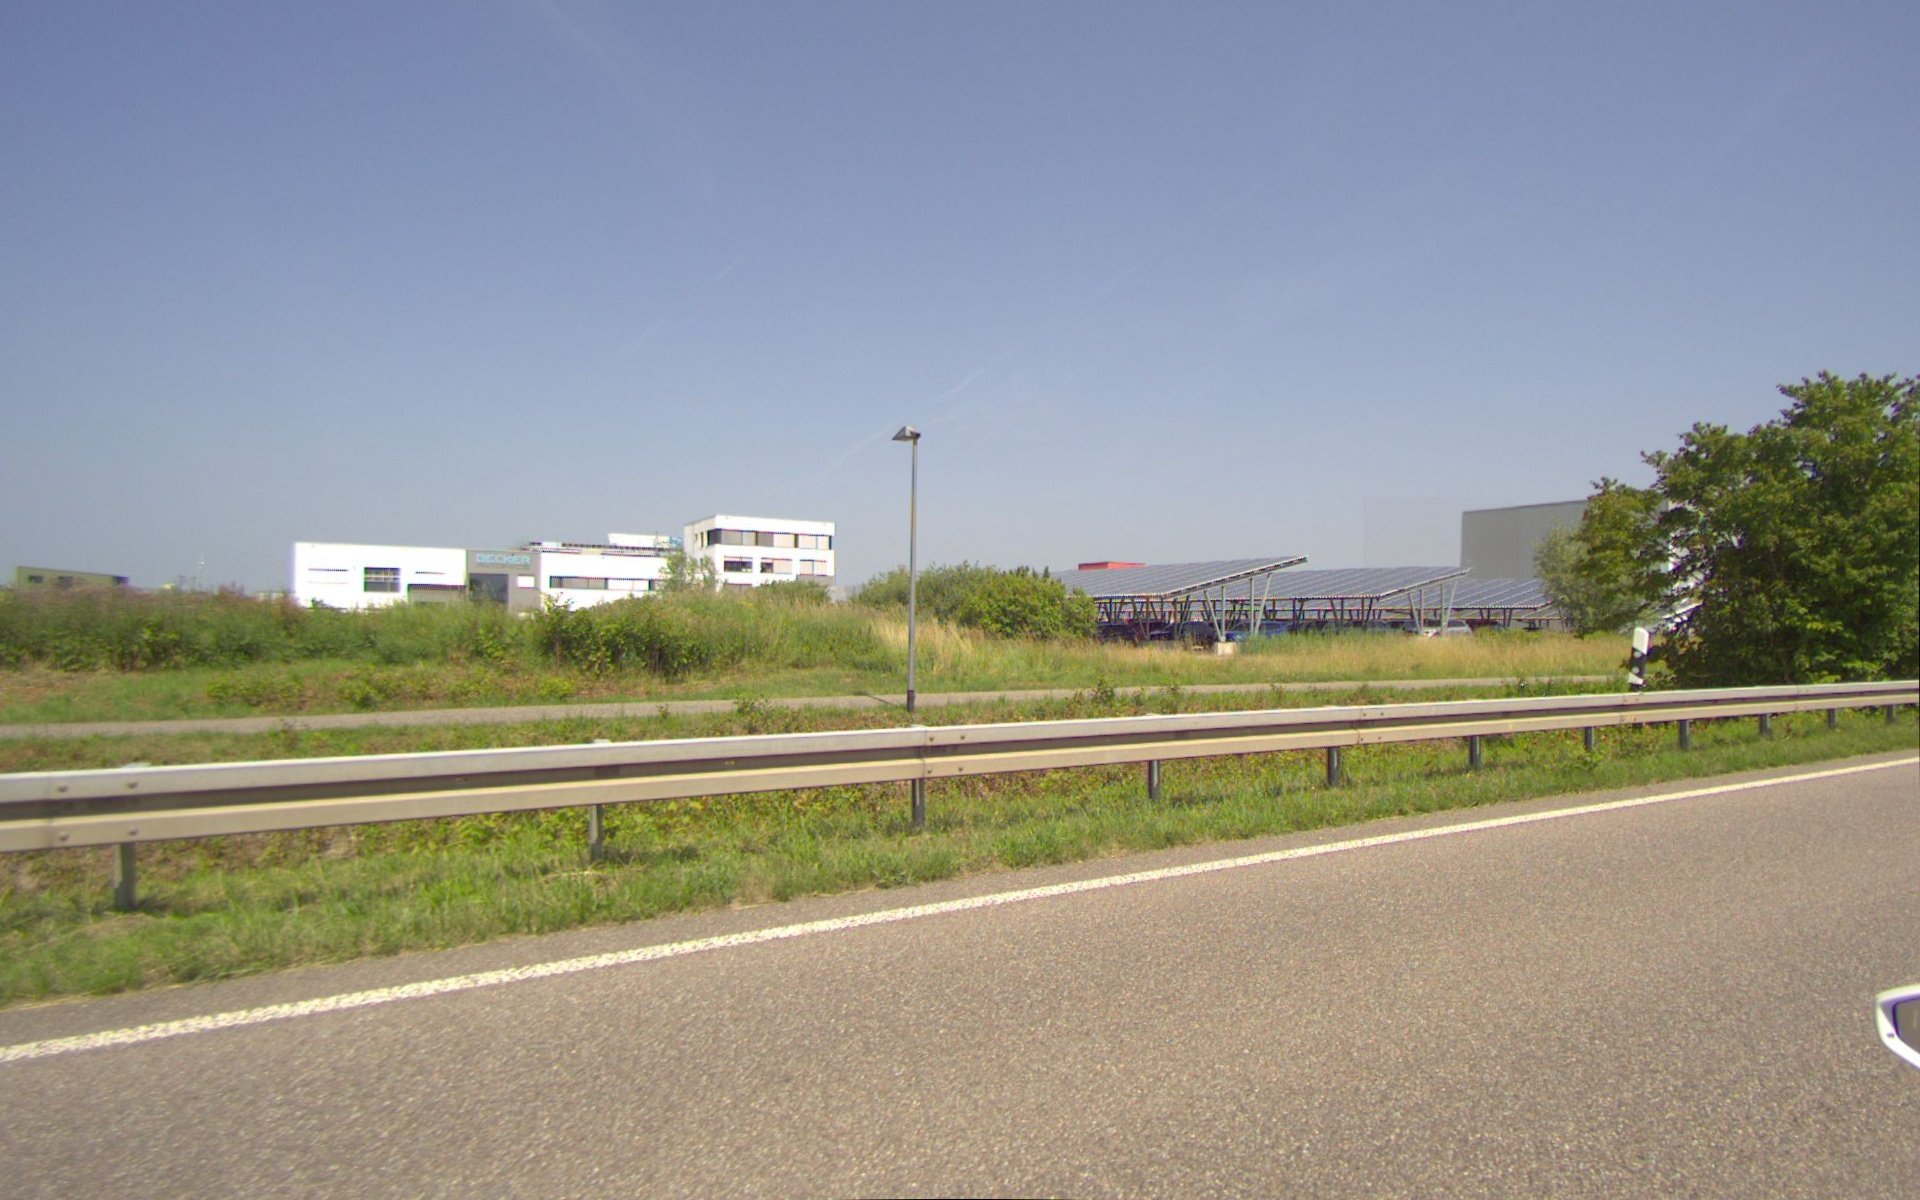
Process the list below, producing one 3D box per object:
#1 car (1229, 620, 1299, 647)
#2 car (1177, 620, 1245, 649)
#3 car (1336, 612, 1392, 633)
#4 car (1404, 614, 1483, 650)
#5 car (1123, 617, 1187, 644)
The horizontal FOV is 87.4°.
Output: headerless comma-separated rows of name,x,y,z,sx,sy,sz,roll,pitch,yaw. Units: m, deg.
car,15.243,1.668,50.398,3.328,1.308,1.610,1,-1,-33
car,16.814,2.327,67.270,4.212,1.828,1.984,1,0,-30
car,25.211,1.407,62.648,3.328,1.308,1.610,1,-1,-33
car,28.336,1.863,58.865,4.463,2.040,1.984,1,-1,-30
car,13.904,2.163,71.512,4.212,1.828,1.984,1,0,-30
